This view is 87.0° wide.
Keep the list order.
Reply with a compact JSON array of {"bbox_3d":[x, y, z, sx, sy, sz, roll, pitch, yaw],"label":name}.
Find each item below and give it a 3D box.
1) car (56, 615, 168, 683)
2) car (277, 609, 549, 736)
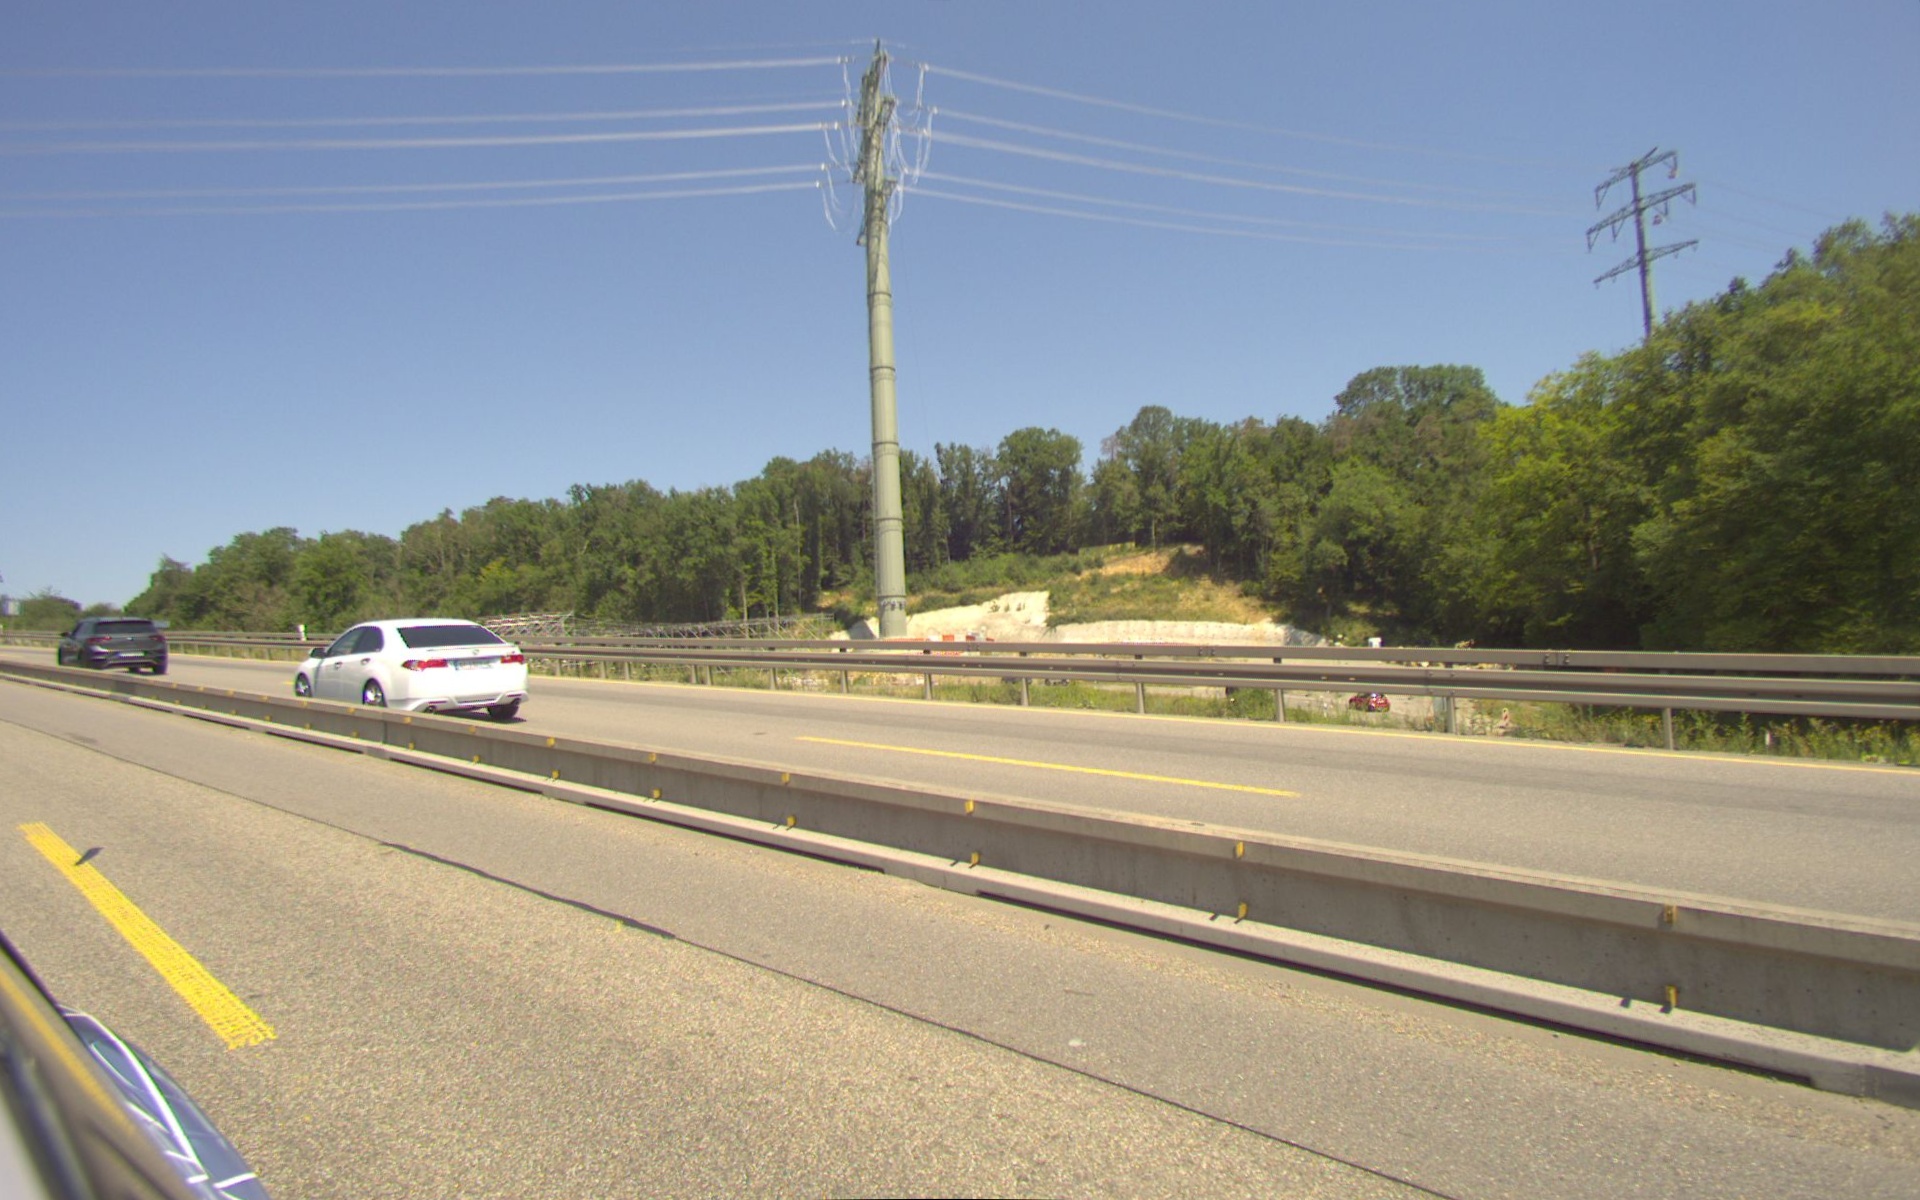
[{"bbox_3d":[-22.980,1.274,27.383,3.999,1.654,1.721,-1,0,41],"label":"car"},{"bbox_3d":[-7.882,0.926,14.402,4.473,1.498,1.892,-2,0,40],"label":"car"}]
